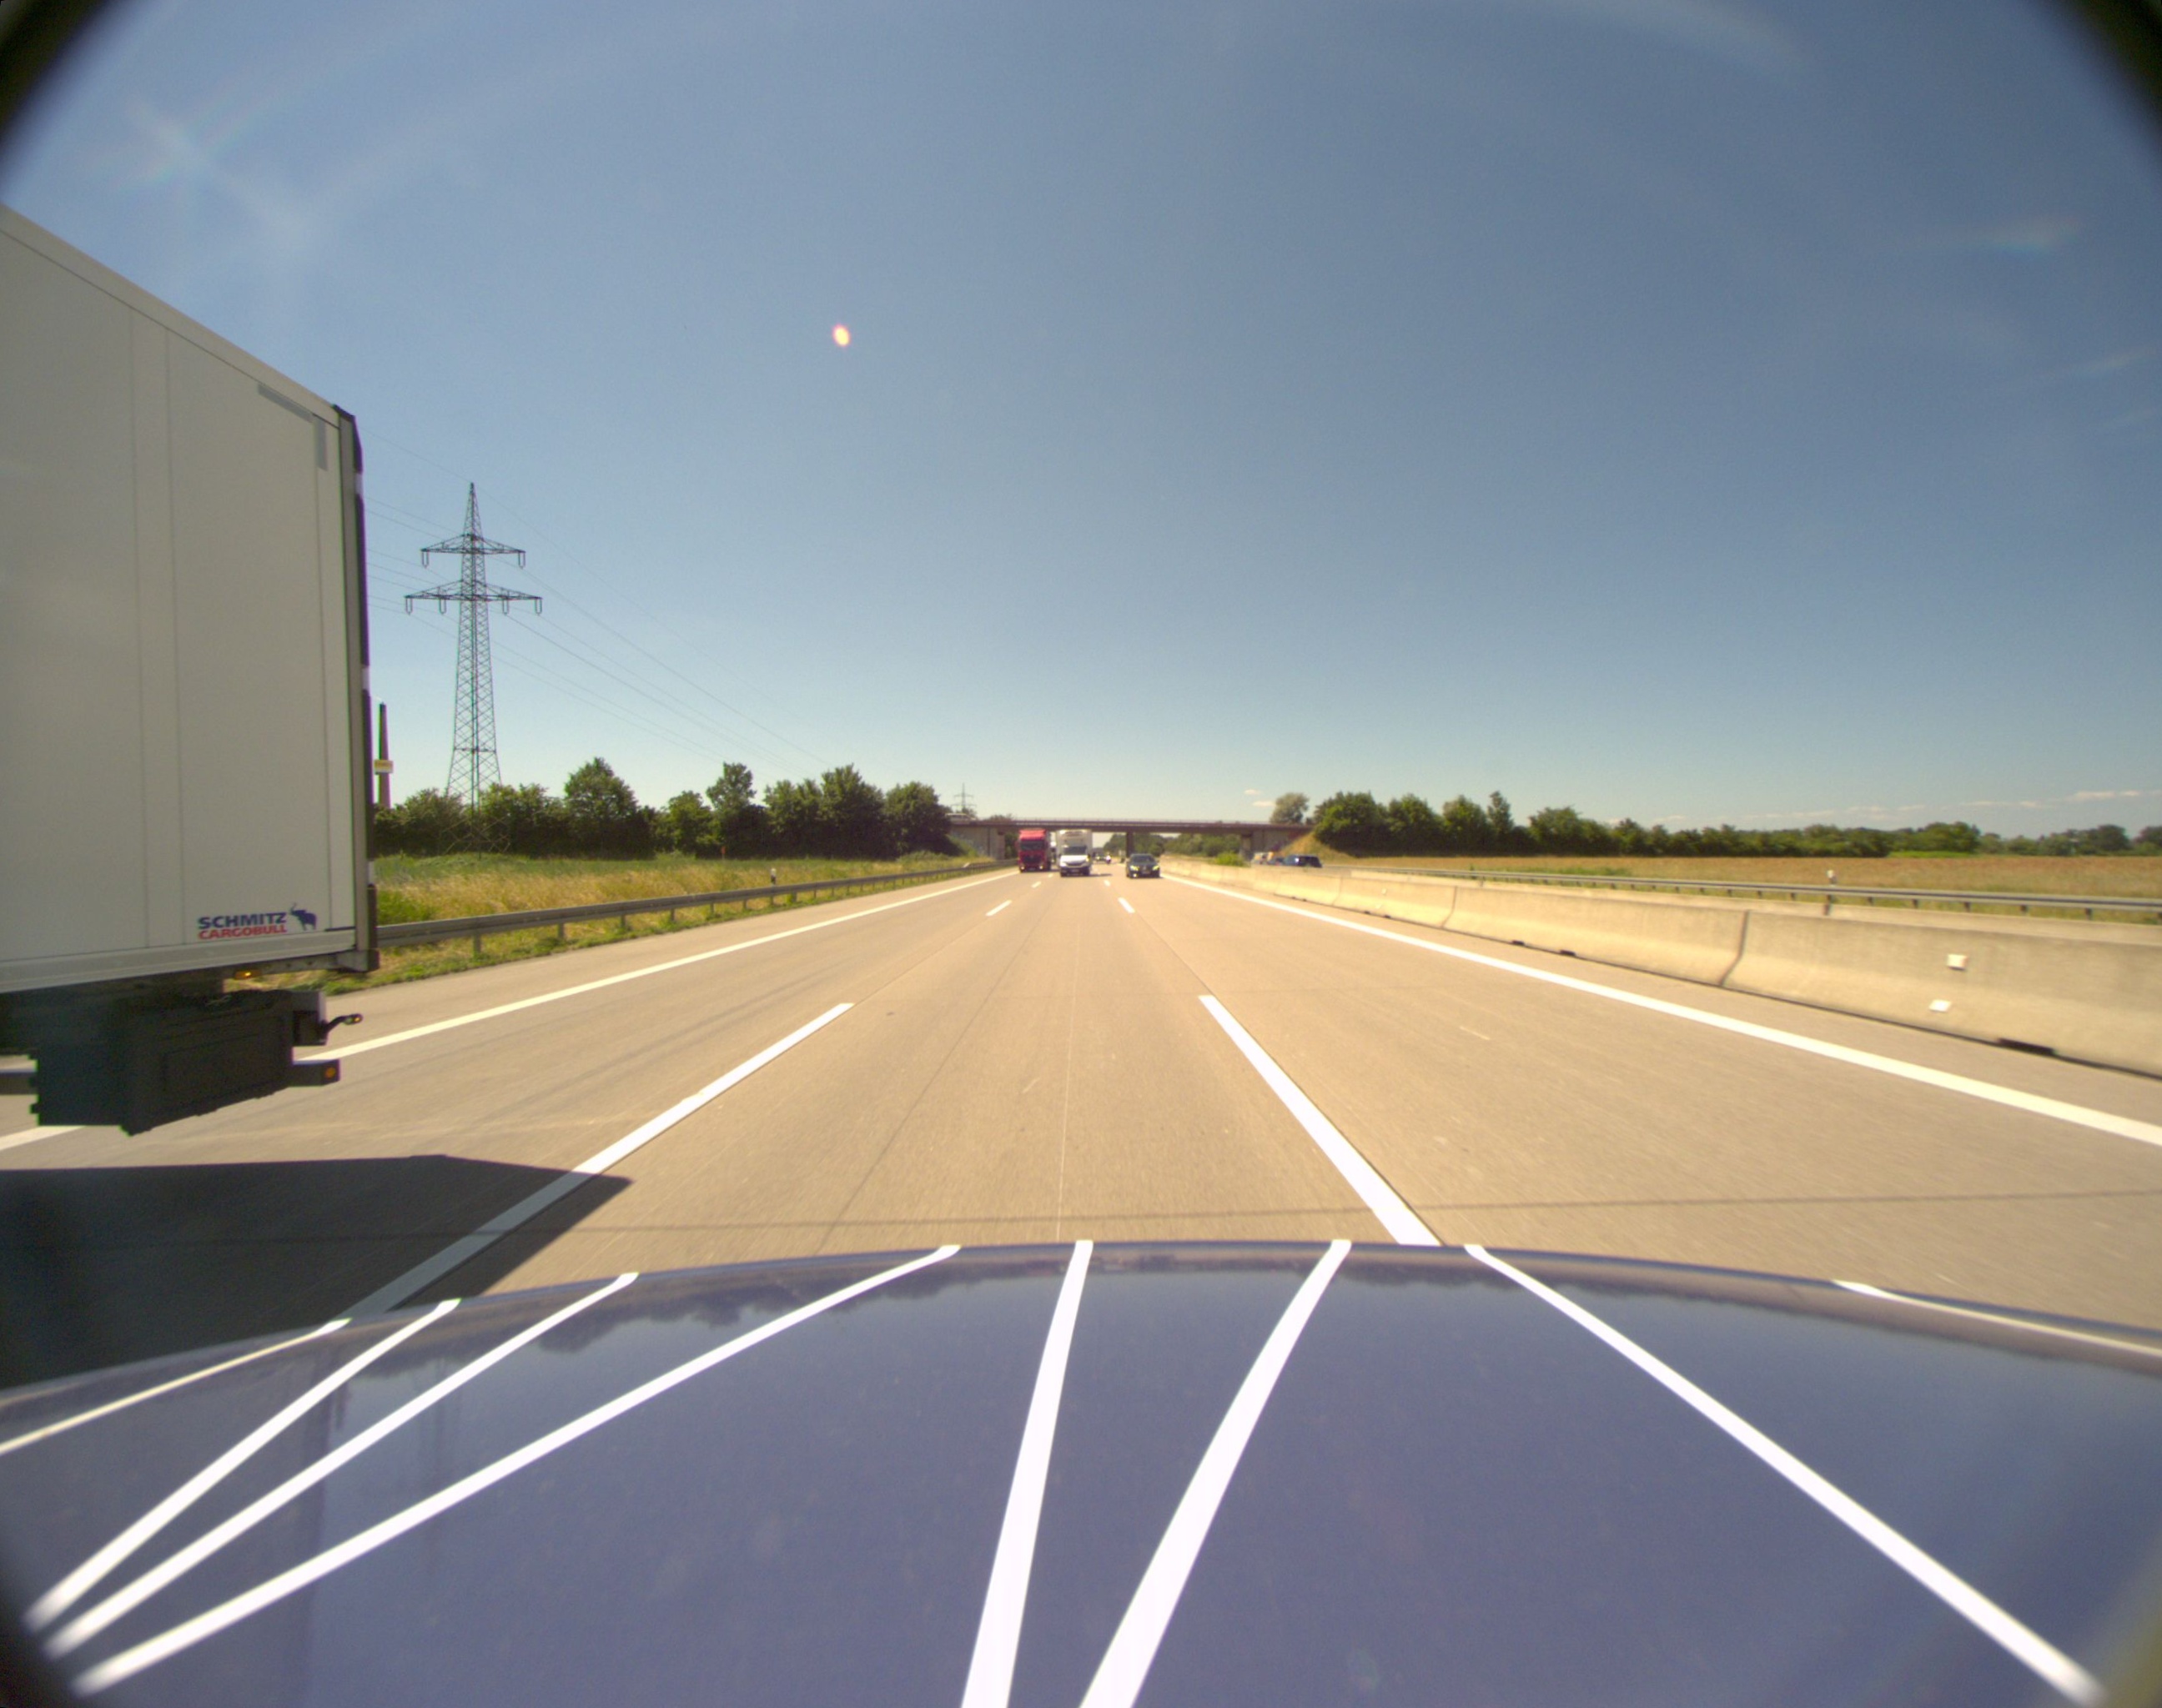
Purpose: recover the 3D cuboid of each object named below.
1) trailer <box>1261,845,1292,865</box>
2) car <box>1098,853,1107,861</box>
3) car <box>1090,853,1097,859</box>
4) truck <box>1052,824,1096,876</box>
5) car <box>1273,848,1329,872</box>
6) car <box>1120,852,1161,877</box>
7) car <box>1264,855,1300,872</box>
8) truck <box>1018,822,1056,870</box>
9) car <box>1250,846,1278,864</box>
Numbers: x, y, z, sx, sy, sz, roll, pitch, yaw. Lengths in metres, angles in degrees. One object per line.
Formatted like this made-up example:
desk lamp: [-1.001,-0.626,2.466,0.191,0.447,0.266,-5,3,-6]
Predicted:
trailer: [20.804,0.094,80.988,1.814,2.031,5.613,-2,1,0]
car: [4.189,0.599,148.870,1.557,1.440,3.776,-2,1,2]
car: [3.041,0.451,185.328,1.683,1.444,3.564,-2,1,1]
truck: [-0.423,-0.304,54.272,2.784,3.328,7.812,-2,1,1]
car: [12.392,0.326,43.099,1.776,1.233,4.676,-2,1,0]
car: [3.686,0.605,47.920,1.999,1.462,6.346,0,0,-1]
car: [16.937,0.774,64.223,1.717,1.351,5.042,-2,1,0]
truck: [-4.200,-0.750,74.480,2.855,4.298,10.885,-2,1,1]
car: [20.834,0.098,86.608,1.870,1.933,5.565,-2,1,0]
